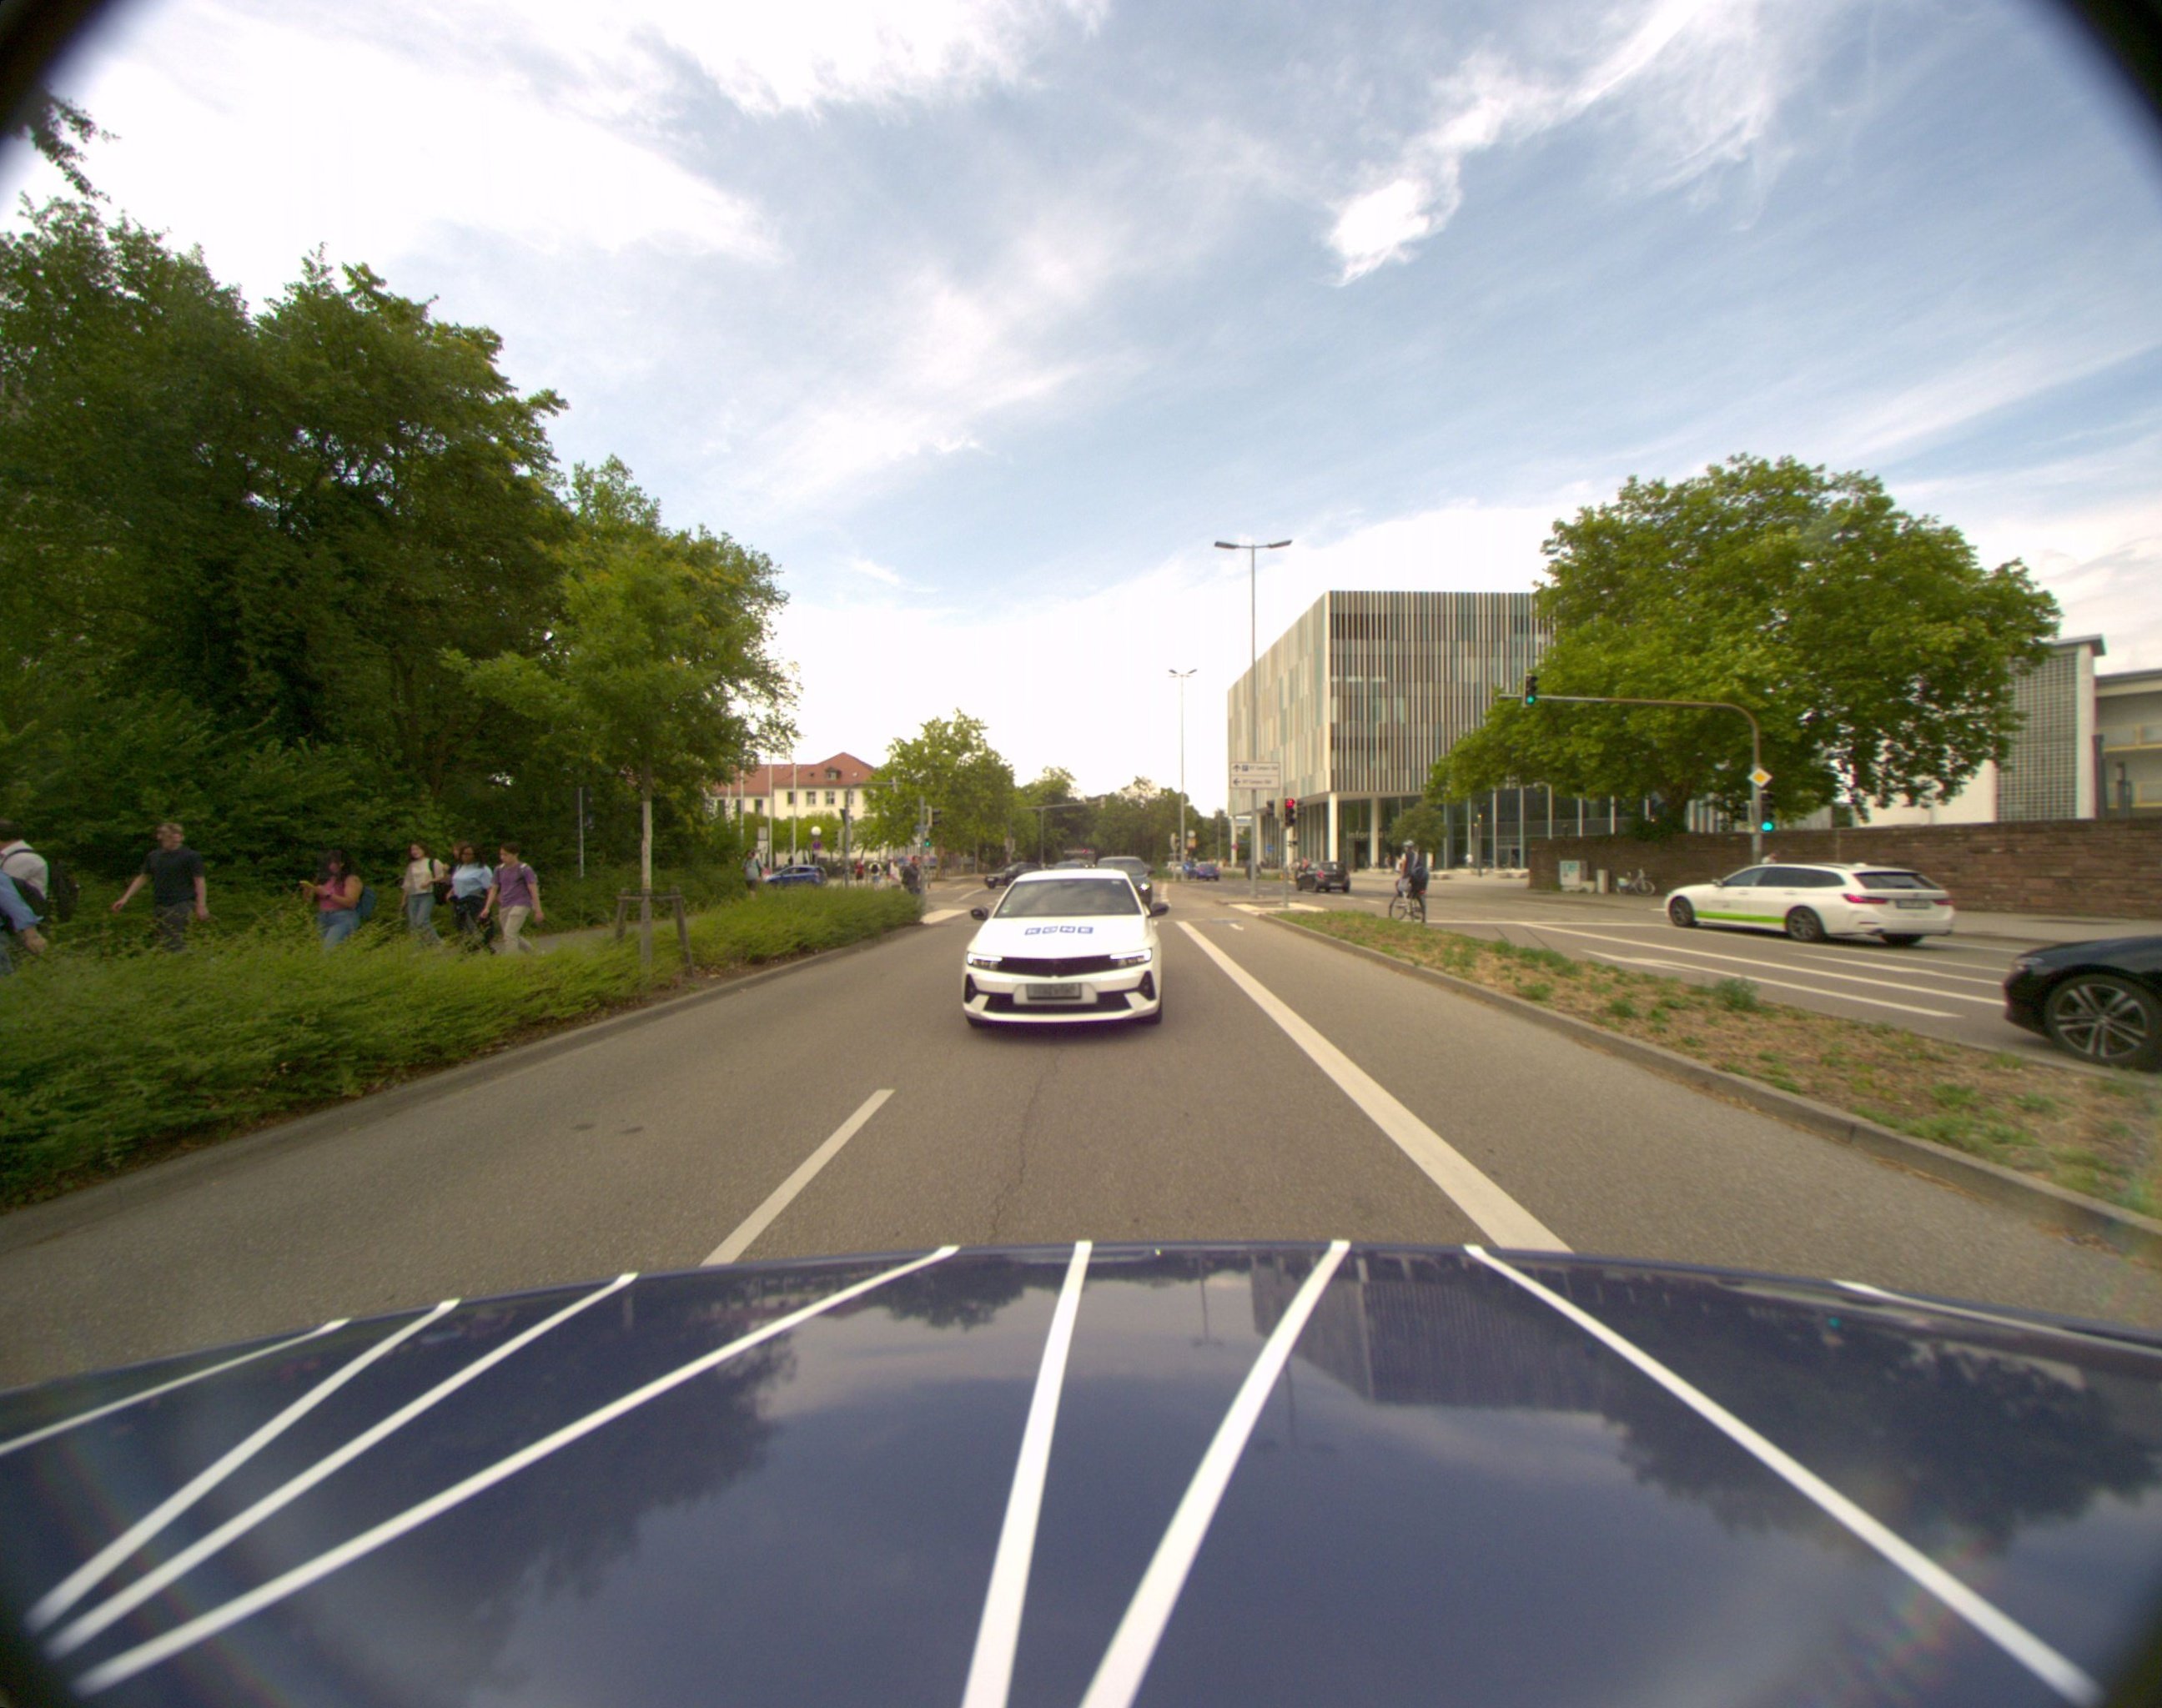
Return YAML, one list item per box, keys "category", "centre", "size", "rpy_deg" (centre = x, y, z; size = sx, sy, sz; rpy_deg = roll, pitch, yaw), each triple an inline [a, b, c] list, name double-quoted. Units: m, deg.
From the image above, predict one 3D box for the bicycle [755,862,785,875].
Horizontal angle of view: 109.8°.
- category: "bicycle"
  centre: [-28.786, 1.365, 70.257]
  size: [2.472, 1.136, 0.718]
  rpy_deg: [-1, 0, 0]

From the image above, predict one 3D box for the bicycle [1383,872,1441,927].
- category: "bicycle"
  centre: [6.989, 0.927, 16.117]
  size: [0.574, 1.049, 1.927]
  rpy_deg: [0, 0, 6]

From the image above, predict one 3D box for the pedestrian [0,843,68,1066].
- category: "pedestrian"
  centre: [-8.264, 0.740, 5.535]
  size: [0.658, 1.638, 0.812]
  rpy_deg: [0, 0, 0]

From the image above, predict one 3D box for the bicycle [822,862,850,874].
- category: "bicycle"
  centre: [-23.598, 1.349, 73.138]
  size: [2.472, 1.136, 0.718]
  rpy_deg: [-1, 0, 0]

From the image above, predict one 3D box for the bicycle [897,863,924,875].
- category: "bicycle"
  centre: [-16.581, 1.423, 73.967]
  size: [2.472, 1.136, 0.718]
  rpy_deg: [-1, 0, 0]

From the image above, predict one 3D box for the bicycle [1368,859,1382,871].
- category: "bicycle"
  centre: [27.996, 1.044, 72.327]
  size: [1.549, 1.023, 0.393]
  rpy_deg: [-3, 1, -38]

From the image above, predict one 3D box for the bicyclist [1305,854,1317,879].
- category: "bicyclist"
  centre: [16.419, 0.886, 54.322]
  size: [0.602, 1.796, 0.561]
  rpy_deg: [0, 0, -16]

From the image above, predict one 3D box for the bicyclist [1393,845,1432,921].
- category: "bicyclist"
  centre: [7.008, 0.605, 16.075]
  size: [0.573, 1.564, 0.699]
  rpy_deg: [0, 0, 6]

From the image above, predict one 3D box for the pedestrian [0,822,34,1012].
- category: "pedestrian"
  centre: [-9.933, 0.557, 6.570]
  size: [0.658, 1.689, 0.780]
  rpy_deg: [0, 0, 0]

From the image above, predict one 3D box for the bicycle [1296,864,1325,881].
- category: "bicycle"
  centre: [16.405, 1.314, 54.325]
  size: [1.897, 1.163, 0.606]
  rpy_deg: [0, 0, -16]

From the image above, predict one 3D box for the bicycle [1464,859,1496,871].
- category: "bicycle"
  centre: [34.028, 0.954, 64.750]
  size: [2.684, 0.993, 0.672]
  rpy_deg: [0, 0, -16]

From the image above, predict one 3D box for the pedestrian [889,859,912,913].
- category: "pedestrian"
  centre: [-5.775, 1.011, 24.307]
  size: [0.547, 1.677, 0.637]
  rpy_deg: [0, 0, 0]

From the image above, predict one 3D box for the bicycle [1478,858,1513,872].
- category: "bicycle"
  centre: [34.265, 0.894, 62.806]
  size: [2.684, 1.083, 0.796]
  rpy_deg: [0, 0, -16]

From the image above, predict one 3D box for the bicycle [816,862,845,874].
- category: "bicycle"
  centre: [-23.608, 1.319, 71.509]
  size: [2.472, 1.136, 0.718]
  rpy_deg: [-1, 0, 0]

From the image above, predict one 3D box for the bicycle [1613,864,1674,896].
- category: "bicycle"
  centre: [21.206, 0.972, 28.681]
  size: [0.579, 1.119, 2.165]
  rpy_deg: [-3, 0, -2]

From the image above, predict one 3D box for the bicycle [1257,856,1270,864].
- category: "bicycle"
  centre: [24.583, 0.823, 102.303]
  size: [1.582, 1.017, 0.389]
  rpy_deg: [-2, 1, -6]

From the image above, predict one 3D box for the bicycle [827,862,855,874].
- category: "bicycle"
  centre: [-23.584, 1.345, 74.773]
  size: [2.472, 1.136, 0.718]
  rpy_deg: [-1, 0, 0]

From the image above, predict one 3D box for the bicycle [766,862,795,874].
- category: "bicycle"
  centre: [-28.790, 1.355, 72.776]
  size: [2.472, 1.136, 0.718]
  rpy_deg: [-1, 0, 0]

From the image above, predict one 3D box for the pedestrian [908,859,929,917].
- category: "pedestrian"
  centre: [-4.883, 1.001, 22.829]
  size: [0.455, 1.725, 0.637]
  rpy_deg: [0, 0, 0]

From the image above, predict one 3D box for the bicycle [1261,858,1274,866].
- category: "bicycle"
  centre: [24.604, 1.085, 100.397]
  size: [1.582, 1.017, 0.389]
  rpy_deg: [-2, 1, -6]

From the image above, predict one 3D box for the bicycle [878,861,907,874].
- category: "bicycle"
  centre: [-17.358, 1.251, 69.995]
  size: [2.472, 1.136, 0.718]
  rpy_deg: [-1, 0, 0]

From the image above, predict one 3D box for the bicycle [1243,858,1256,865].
- category: "bicycle"
  centre: [24.535, 1.121, 110.626]
  size: [1.704, 1.017, 0.434]
  rpy_deg: [-2, 1, -6]

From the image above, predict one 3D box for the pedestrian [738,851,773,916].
- category: "pedestrian"
  centre: [-8.992, 0.804, 21.007]
  size: [0.646, 1.785, 0.740]
  rpy_deg: [0, 0, 0]

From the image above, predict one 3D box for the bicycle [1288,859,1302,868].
- category: "bicycle"
  centre: [24.797, 1.132, 88.121]
  size: [1.546, 0.932, 0.389]
  rpy_deg: [-2, 1, -6]

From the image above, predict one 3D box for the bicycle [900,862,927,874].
- category: "bicycle"
  centre: [-16.528, 1.350, 75.097]
  size: [2.472, 1.136, 0.718]
  rpy_deg: [-1, 0, 0]

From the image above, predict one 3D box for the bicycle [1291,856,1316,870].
- category: "bicycle"
  centre: [16.322, 0.638, 55.736]
  size: [1.693, 0.983, 0.571]
  rpy_deg: [-2, 1, -15]

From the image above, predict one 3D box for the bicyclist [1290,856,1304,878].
- category: "bicyclist"
  centre: [16.320, 0.961, 57.503]
  size: [0.729, 1.663, 0.723]
  rpy_deg: [-2, 1, -15]

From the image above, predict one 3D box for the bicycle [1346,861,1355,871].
- category: "bicycle"
  centre: [26.447, 1.212, 74.531]
  size: [0.393, 0.932, 1.601]
  rpy_deg: [-2, 0, 33]

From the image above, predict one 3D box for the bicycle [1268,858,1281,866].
- category: "bicycle"
  centre: [24.844, 1.034, 97.646]
  size: [1.582, 1.017, 0.389]
  rpy_deg: [-2, 1, -6]

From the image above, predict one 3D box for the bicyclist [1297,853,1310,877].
- category: "bicyclist"
  centre: [16.322, 0.801, 55.726]
  size: [0.602, 1.796, 0.561]
  rpy_deg: [-2, 1, -15]

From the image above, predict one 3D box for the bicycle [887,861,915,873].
- category: "bicycle"
  centre: [-17.267, 1.226, 72.937]
  size: [2.472, 1.136, 0.718]
  rpy_deg: [-1, 0, 0]

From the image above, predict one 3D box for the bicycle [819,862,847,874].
- category: "bicycle"
  centre: [-23.600, 1.352, 72.342]
  size: [2.472, 1.136, 0.718]
  rpy_deg: [-1, 0, 0]

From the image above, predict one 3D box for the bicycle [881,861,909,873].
- category: "bicycle"
  centre: [-17.469, 1.208, 71.366]
  size: [2.472, 1.136, 0.718]
  rpy_deg: [-1, 0, 0]

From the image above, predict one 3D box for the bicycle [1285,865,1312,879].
- category: "bicycle"
  centre: [16.455, 1.346, 57.539]
  size: [1.823, 0.983, 0.728]
  rpy_deg: [-2, 1, -15]

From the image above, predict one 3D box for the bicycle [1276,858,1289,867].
- category: "bicycle"
  centre: [25.245, 1.034, 95.219]
  size: [1.582, 1.017, 0.389]
  rpy_deg: [-2, 1, -6]

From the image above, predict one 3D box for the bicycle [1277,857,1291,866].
- category: "bicycle"
  centre: [24.896, 0.894, 92.979]
  size: [1.582, 1.017, 0.389]
  rpy_deg: [-2, 1, -6]
